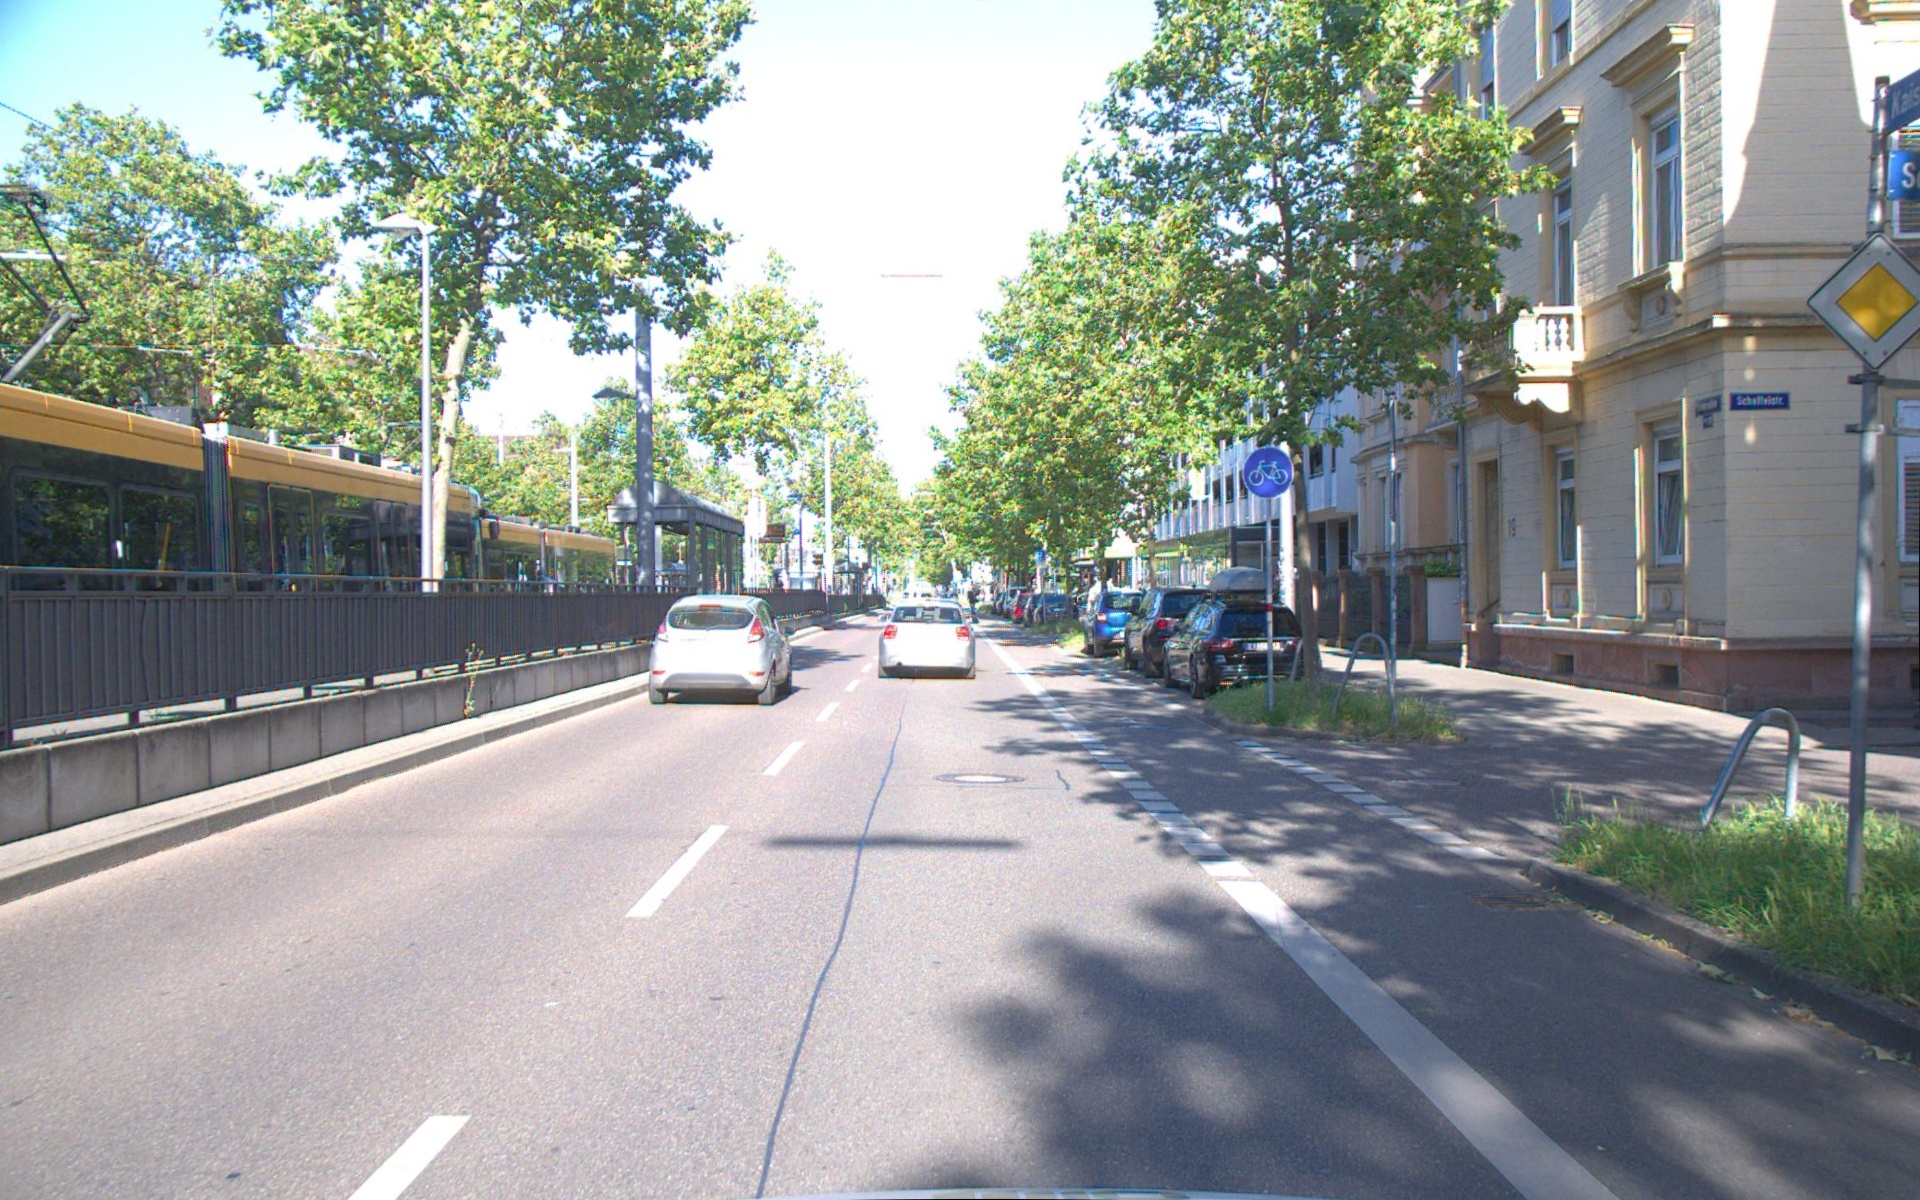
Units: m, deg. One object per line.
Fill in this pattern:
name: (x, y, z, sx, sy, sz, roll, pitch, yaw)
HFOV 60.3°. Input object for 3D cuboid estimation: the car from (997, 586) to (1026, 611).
car: (3.331, -0.101, 107.577, 1.676, 1.590, 4.000, 1, 0, 0)

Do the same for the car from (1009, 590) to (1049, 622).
car: (3.434, 0.304, 82.727, 1.769, 1.547, 3.999, 1, -1, 0)

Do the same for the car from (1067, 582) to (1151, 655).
car: (3.651, 0.409, 41.185, 1.657, 1.687, 4.039, -1, 1, -1)

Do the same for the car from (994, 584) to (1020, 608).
car: (3.246, -0.282, 114.824, 1.666, 1.561, 3.716, 1, 0, 0)

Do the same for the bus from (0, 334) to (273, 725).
bus: (-10.007, -0.629, 14.672, 2.810, 3.504, 12.213, 0, 0, 0)

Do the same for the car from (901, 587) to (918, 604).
car: (-6.332, -0.563, 207.726, 1.953, 2.049, 4.000, 1, 0, 0)

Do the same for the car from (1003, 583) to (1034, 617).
car: (3.463, 0.013, 98.332, 1.689, 1.913, 3.999, 1, 0, 0)

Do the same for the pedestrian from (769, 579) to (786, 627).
pedestrian: (-7.710, 0.114, 69.979, 0.626, 1.988, 0.813, 1, 0, -1)

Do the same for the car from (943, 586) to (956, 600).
car: (-1.542, -1.055, 243.988, 2.029, 2.049, 4.000, 0, 0, 0)

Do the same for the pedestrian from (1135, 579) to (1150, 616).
pedestrian: (10.105, -0.143, 91.572, 0.772, 2.049, 0.891, 0, 0, 0)

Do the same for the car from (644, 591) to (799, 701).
car: (-3.257, 0.583, 23.198, 1.613, 1.386, 3.759, 1, 0, 0)

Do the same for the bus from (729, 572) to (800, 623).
bus: (-15.223, -0.244, 130.698, 2.810, 3.692, 24.600, -1, 0, 0)

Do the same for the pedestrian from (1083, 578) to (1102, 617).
pedestrian: (7.010, -0.112, 87.353, 0.944, 2.049, 0.938, 0, 0, -1)

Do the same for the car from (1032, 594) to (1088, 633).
car: (4.028, 0.557, 67.409, 1.953, 1.535, 4.597, 1, -1, 0)

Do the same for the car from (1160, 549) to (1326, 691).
car: (4.308, 0.269, 25.885, 1.719, 1.999, 4.736, 0, 0, -1)

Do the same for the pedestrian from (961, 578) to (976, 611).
pedestrian: (0.528, -0.334, 104.819, 0.820, 2.049, 0.649, 1, 0, 6)

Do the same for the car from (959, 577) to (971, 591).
car: (0.812, -2.487, 254.887, 1.837, 2.049, 3.711, 1, 0, 0)

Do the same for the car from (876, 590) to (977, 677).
car: (-0.626, 0.566, 30.616, 1.726, 1.457, 3.999, 1, 0, -1)

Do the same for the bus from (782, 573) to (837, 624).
bus: (-11.626, -0.172, 129.768, 2.694, 3.689, 18.845, -1, 0, 0)

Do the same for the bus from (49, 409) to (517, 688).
bus: (-10.062, -0.687, 26.595, 2.810, 3.504, 11.610, 0, 0, 0)

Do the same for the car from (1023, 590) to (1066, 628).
car: (3.692, 0.357, 72.705, 1.635, 1.578, 4.000, 1, 0, 0)

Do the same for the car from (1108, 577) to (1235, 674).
car: (3.978, 0.443, 31.774, 1.761, 1.730, 4.736, 0, 0, -1)

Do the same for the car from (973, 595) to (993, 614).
car: (2.471, 0.467, 178.810, 1.953, 2.049, 4.000, 1, 0, 0)

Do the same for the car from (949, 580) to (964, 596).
car: (-0.489, -1.656, 231.703, 1.953, 2.049, 3.999, 0, -1, -1)
